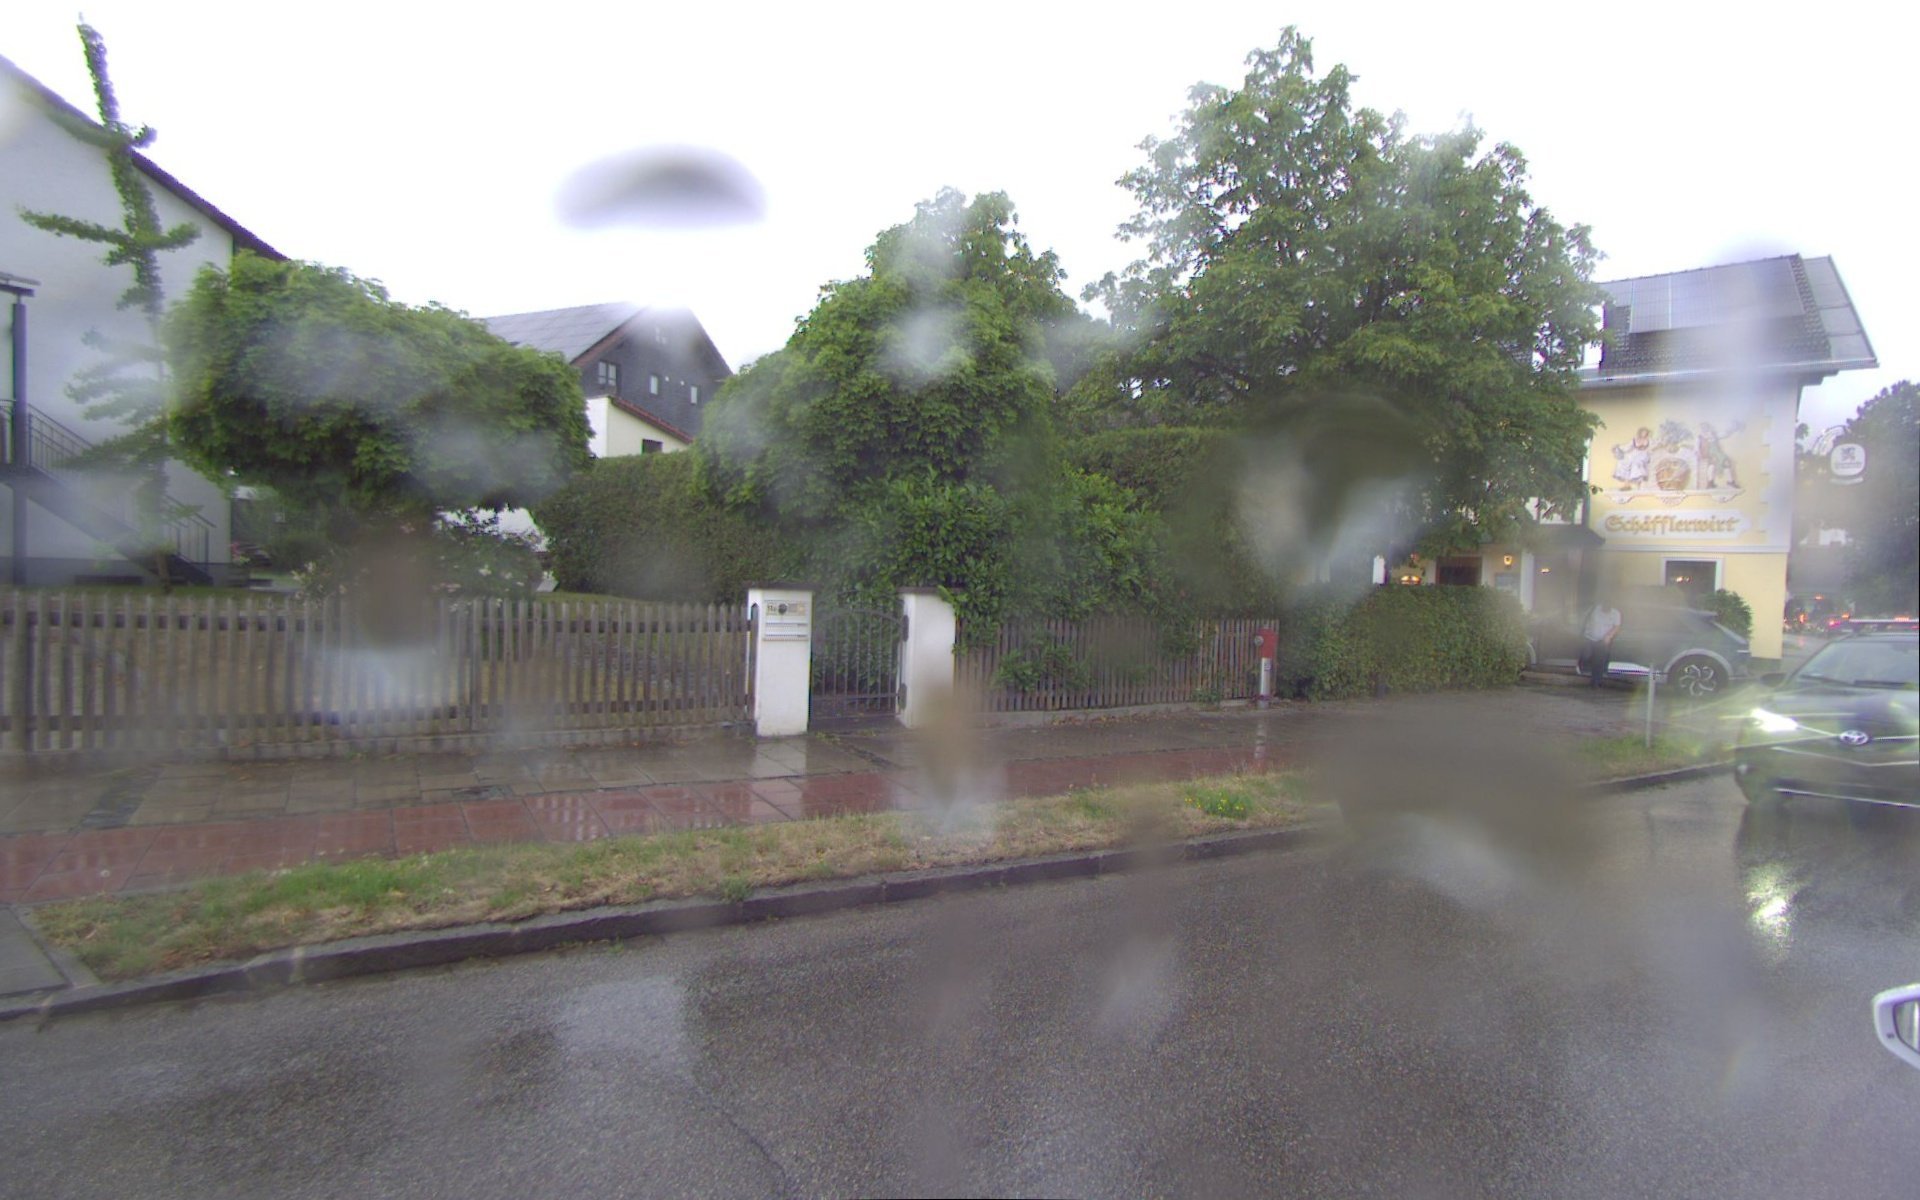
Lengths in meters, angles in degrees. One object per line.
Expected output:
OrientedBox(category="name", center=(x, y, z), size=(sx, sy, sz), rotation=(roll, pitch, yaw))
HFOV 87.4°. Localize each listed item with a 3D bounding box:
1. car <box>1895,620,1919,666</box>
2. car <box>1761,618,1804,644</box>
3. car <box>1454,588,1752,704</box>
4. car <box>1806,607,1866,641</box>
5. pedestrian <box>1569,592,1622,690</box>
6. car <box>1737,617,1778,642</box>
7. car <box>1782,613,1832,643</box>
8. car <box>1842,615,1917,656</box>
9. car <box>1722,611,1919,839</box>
OrientedBox(category="car", center=(44.595, 1.994, 45.707), size=(2.139, 1.925, 4.999), rotation=(3, 2, 33))
OrientedBox(category="car", center=(67.682, 2.507, 82.756), size=(2.139, 1.925, 4.999), rotation=(3, 2, 33))
OrientedBox(category="car", center=(11.917, 0.753, 18.921), size=(4.413, 1.589, 1.834), rotation=(6, 5, 32))
OrientedBox(category="car", center=(55.676, 1.501, 63.909), size=(2.139, 1.925, 4.999), rotation=(3, 2, 33))
OrientedBox(category="pedestrian", center=(11.409, 0.733, 18.038), size=(0.547, 1.712, 0.488), rotation=(2, 4, -30))
OrientedBox(category="car", center=(57.418, 2.099, 72.417), size=(1.896, 1.767, 4.181), rotation=(0, -1, 33))
OrientedBox(category="car", center=(61.971, 2.019, 73.535), size=(2.139, 1.925, 4.999), rotation=(3, 2, 33))
OrientedBox(category="car", center=(49.477, 1.874, 54.148), size=(2.139, 1.925, 4.999), rotation=(3, 2, 33))
OrientedBox(category="car", center=(7.986, 0.893, 8.324), size=(4.150, 1.541, 1.626), rotation=(1, -1, -37))
